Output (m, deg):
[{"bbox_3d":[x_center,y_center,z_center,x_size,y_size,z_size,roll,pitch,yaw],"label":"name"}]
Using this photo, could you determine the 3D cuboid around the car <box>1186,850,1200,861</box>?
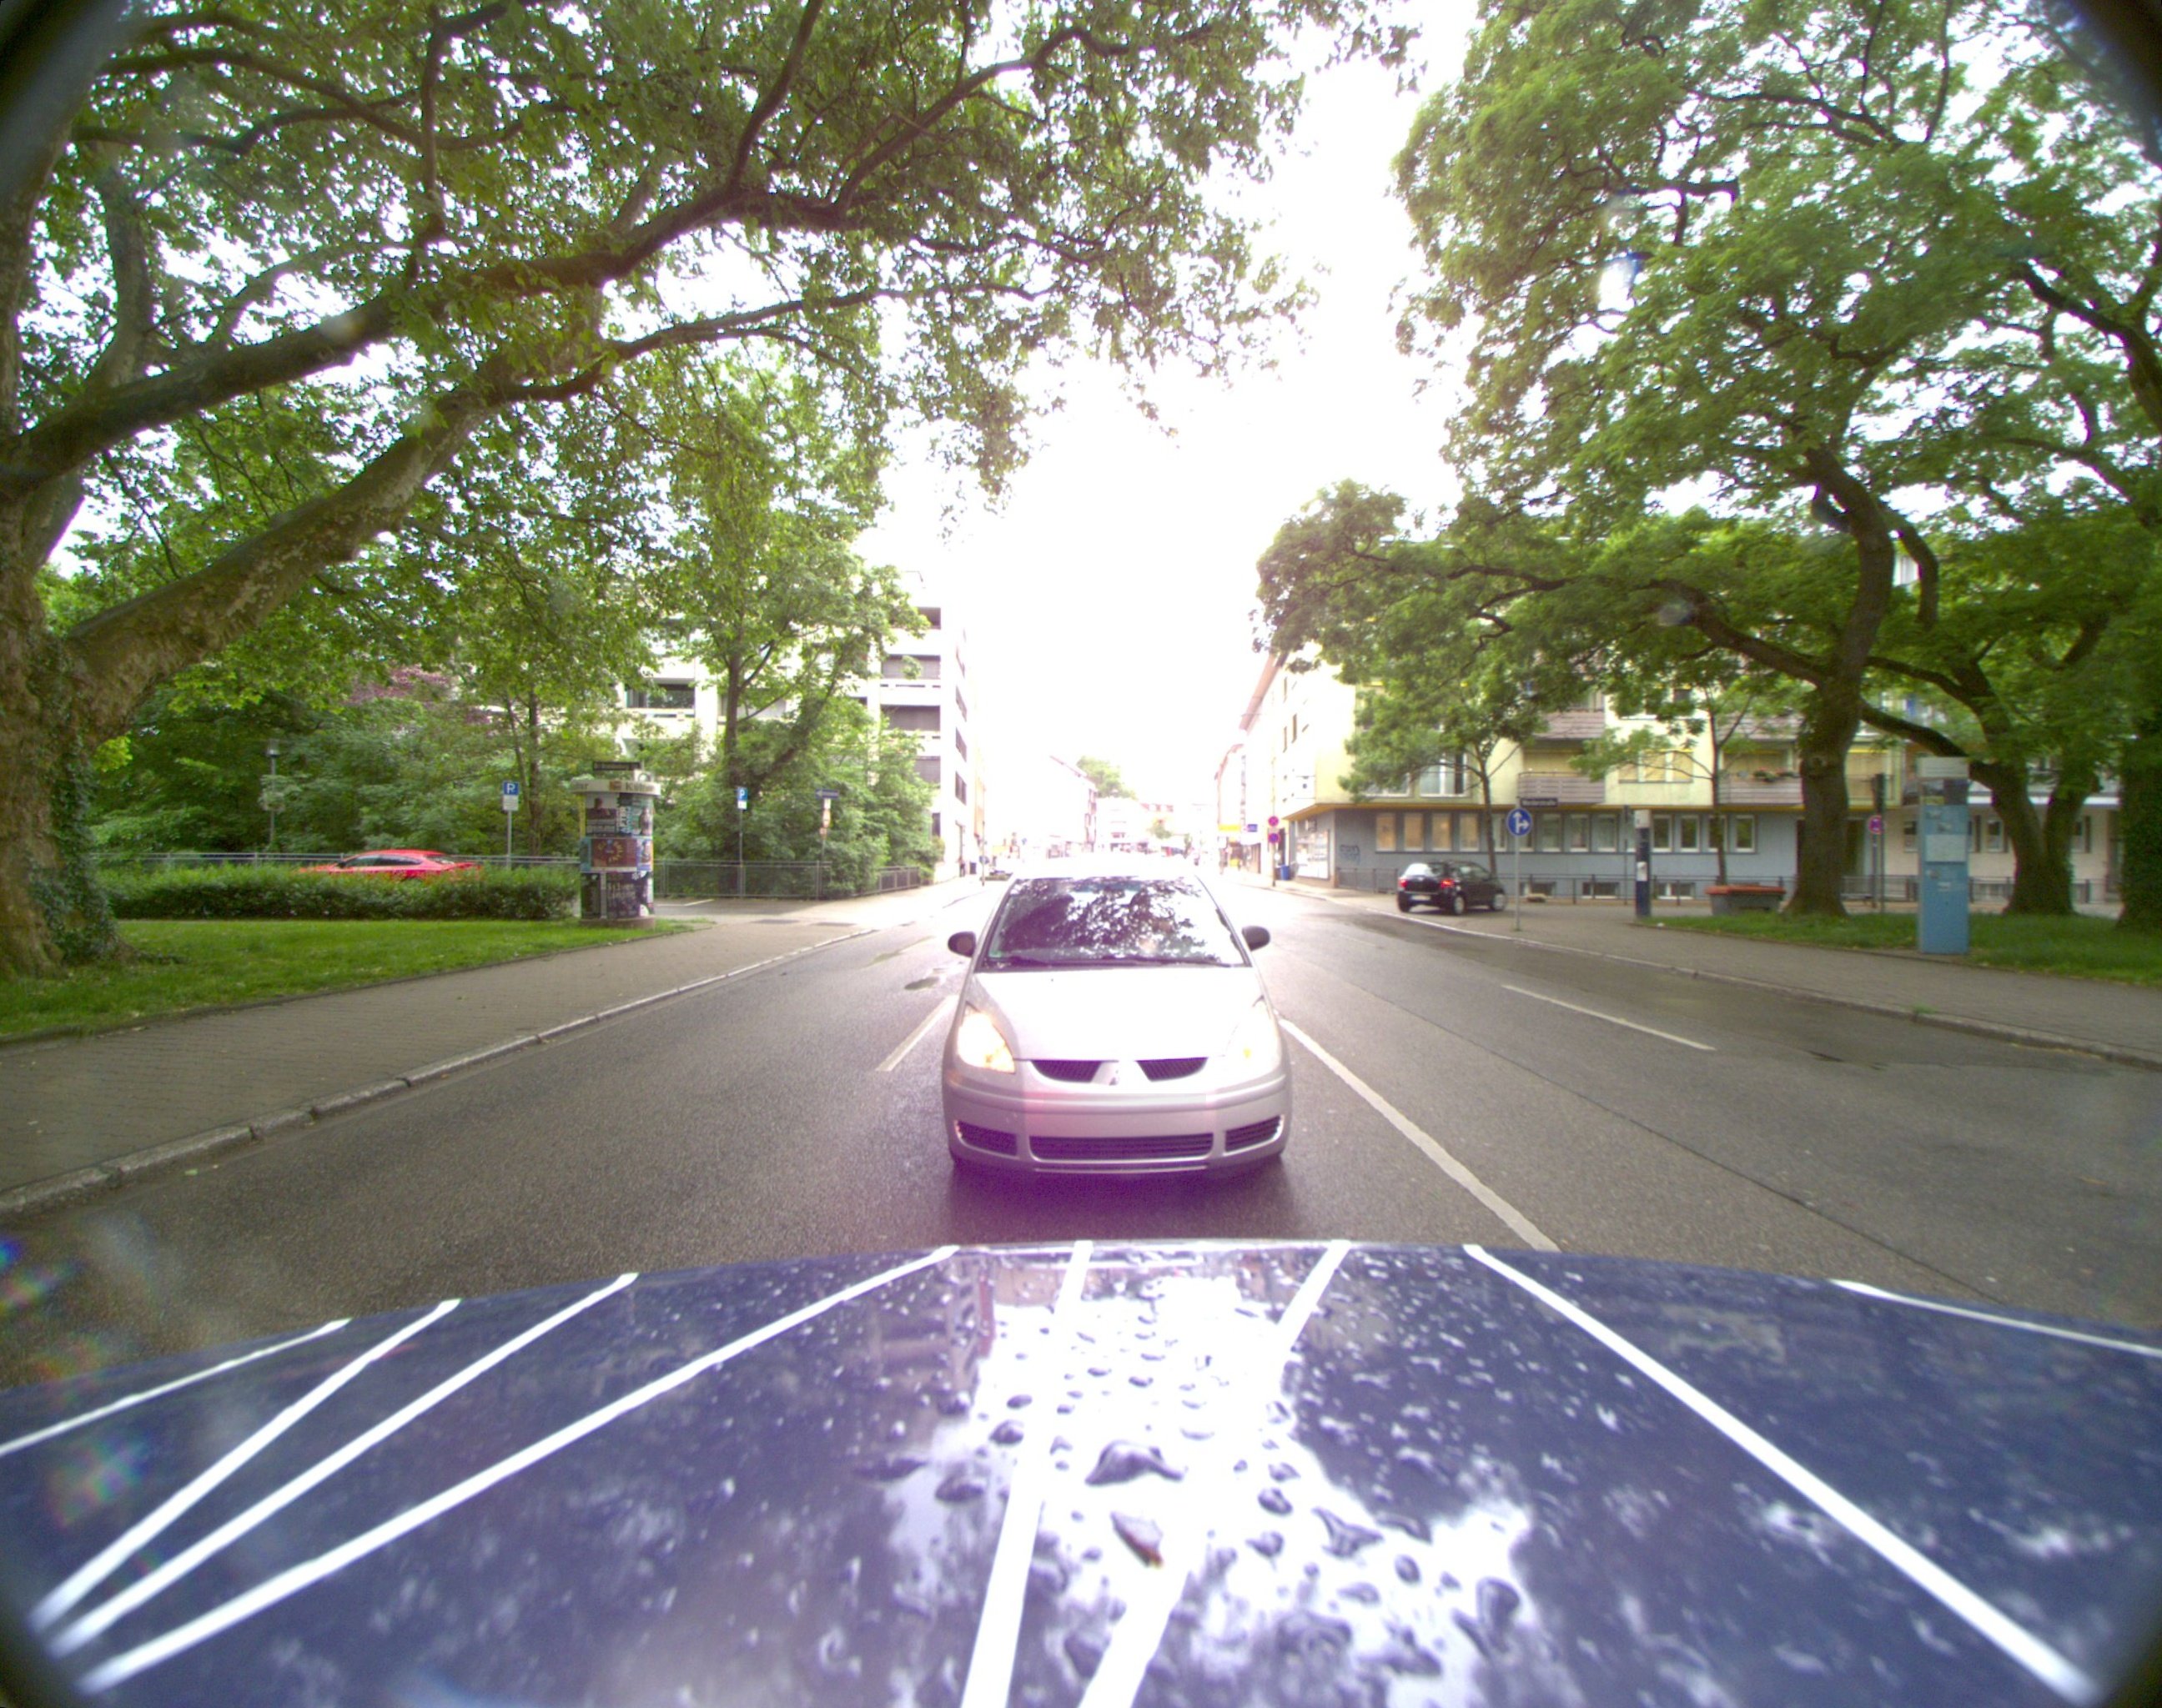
[{"bbox_3d":[17.806,0.282,121.205,1.889,1.707,4.001,1,0,4],"label":"car"}]

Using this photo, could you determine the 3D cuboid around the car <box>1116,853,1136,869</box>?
[{"bbox_3d":[4.207,0.666,71.117,1.701,1.433,3.897,1,0,1],"label":"car"}]

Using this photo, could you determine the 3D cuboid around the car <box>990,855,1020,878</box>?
[{"bbox_3d":[-5.316,0.856,53.508,1.681,1.424,3.681,3,0,1],"label":"car"}]

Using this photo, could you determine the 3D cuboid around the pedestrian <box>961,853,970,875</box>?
[{"bbox_3d":[-8.012,0.698,52.850,0.480,1.521,0.481,-2,1,1],"label":"pedestrian"}]

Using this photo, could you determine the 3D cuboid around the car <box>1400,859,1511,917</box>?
[{"bbox_3d":[10.675,0.917,21.550,3.575,1.479,1.568,1,1,-42],"label":"car"}]

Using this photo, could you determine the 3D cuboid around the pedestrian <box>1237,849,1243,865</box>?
[{"bbox_3d":[17.578,0.327,83.967,0.594,1.833,0.565,1,1,8],"label":"pedestrian"}]

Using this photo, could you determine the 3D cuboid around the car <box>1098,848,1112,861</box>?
[{"bbox_3d":[3.507,0.015,113.011,1.935,1.817,3.999,-2,1,0],"label":"car"}]

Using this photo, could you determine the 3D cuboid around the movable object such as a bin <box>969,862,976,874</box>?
[{"bbox_3d":[-8.996,1.162,62.934,0.556,1.035,0.292,1,1,0],"label":"movable object such as a bin"}]

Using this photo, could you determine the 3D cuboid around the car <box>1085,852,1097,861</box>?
[{"bbox_3d":[1.572,0.366,120.014,1.802,1.433,3.897,1,0,1],"label":"car"}]

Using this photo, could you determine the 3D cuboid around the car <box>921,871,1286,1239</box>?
[{"bbox_3d":[0.126,0.926,4.972,1.576,1.514,3.241,-1,0,1],"label":"car"}]

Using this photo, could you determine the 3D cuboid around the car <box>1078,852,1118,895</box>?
[{"bbox_3d":[0.676,0.777,32.517,1.584,1.705,3.649,1,0,0],"label":"car"}]

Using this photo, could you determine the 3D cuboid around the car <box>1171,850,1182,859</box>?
[{"bbox_3d":[17.998,0.149,142.813,1.867,1.648,4.001,1,0,4],"label":"car"}]

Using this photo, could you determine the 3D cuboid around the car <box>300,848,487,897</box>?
[{"bbox_3d":[-19.427,0.510,21.590,3.790,1.271,1.576,1,1,-3],"label":"car"}]

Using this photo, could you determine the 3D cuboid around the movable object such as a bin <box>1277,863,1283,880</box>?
[{"bbox_3d":[12.688,1.110,48.505,0.338,1.023,0.353,1,1,8],"label":"movable object such as a bin"}]

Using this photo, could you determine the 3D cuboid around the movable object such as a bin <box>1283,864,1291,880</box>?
[{"bbox_3d":[13.080,1.123,48.273,0.415,1.023,0.353,1,1,8],"label":"movable object such as a bin"}]

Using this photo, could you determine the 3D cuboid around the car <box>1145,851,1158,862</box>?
[{"bbox_3d":[11.174,0.361,120.811,1.998,1.631,4.001,1,0,4],"label":"car"}]

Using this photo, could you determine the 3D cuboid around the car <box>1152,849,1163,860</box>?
[{"bbox_3d":[13.797,0.055,137.349,1.998,1.841,4.001,1,0,4],"label":"car"}]

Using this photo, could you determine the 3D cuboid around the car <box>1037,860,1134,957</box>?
[{"bbox_3d":[0.158,0.913,14.471,1.590,1.540,3.771,1,0,2],"label":"car"}]

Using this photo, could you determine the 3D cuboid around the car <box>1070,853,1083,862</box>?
[{"bbox_3d":[-0.680,0.513,113.420,1.802,1.433,3.896,1,0,0],"label":"car"}]

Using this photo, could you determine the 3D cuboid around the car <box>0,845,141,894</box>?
[{"bbox_3d":[-29.089,0.408,21.295,3.468,1.271,1.448,1,1,-5],"label":"car"}]
